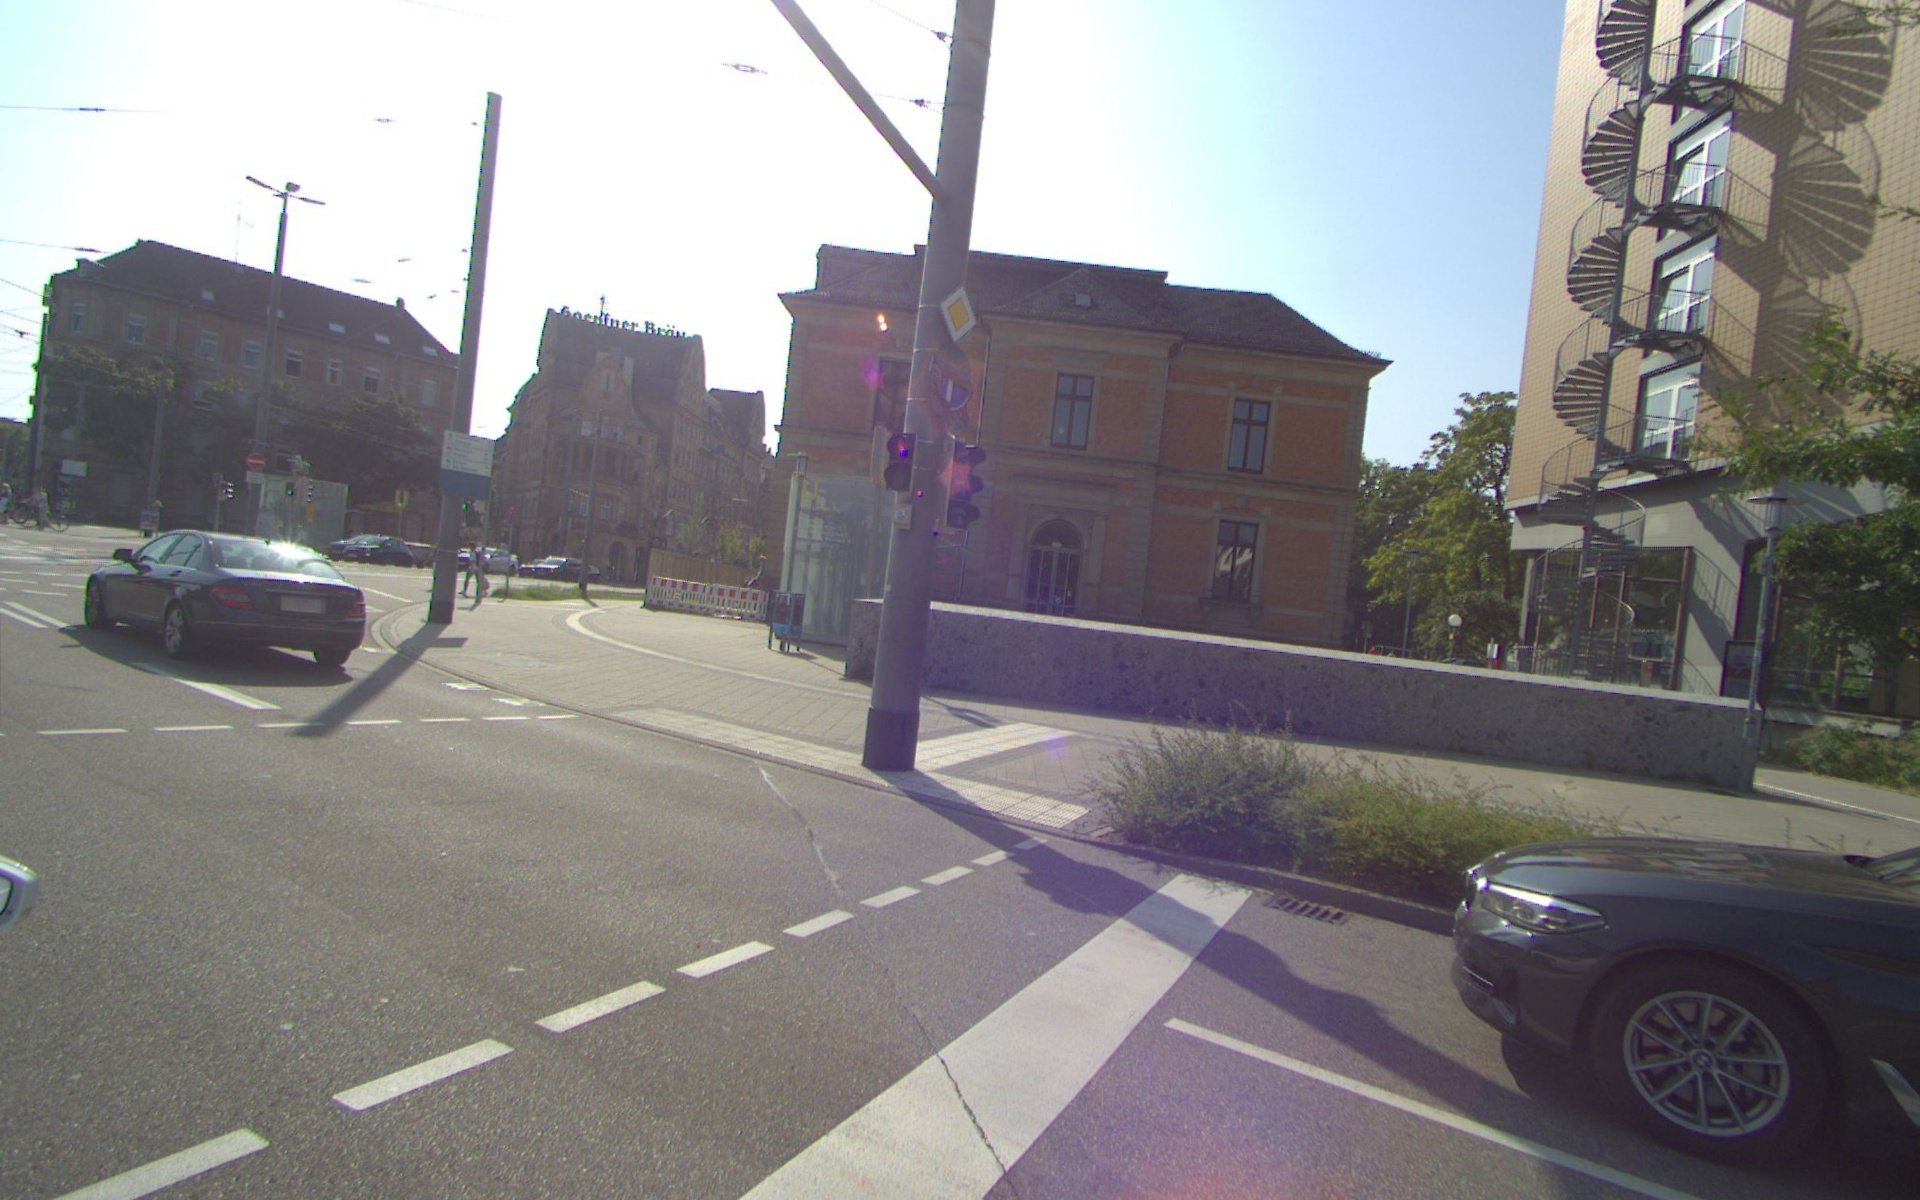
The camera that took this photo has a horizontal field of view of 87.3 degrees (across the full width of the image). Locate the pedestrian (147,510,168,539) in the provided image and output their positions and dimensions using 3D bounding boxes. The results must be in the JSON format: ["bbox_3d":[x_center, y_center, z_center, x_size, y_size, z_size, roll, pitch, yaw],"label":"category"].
[{"bbox_3d":[-43.975,-4.149,55.149,0.538,1.489,0.666,6,1,-13],"label":"pedestrian"}]

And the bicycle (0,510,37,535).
[{"bbox_3d":[-43.408,-3.574,45.253,1.072,0.976,2.628,7,0,7],"label":"bicycle"}]

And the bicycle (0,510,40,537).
[{"bbox_3d":[-41.706,-3.386,43.756,1.074,0.976,2.624,7,0,-6],"label":"bicycle"}]

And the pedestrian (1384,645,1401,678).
[{"bbox_3d":[25.888,3.698,60.267,0.624,1.890,0.674,6,1,12],"label":"pedestrian"}]

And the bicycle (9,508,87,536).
[{"bbox_3d":[-43.526,-3.713,48.040,1.072,0.976,2.628,7,0,7],"label":"bicycle"}]

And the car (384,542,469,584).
[{"bbox_3d":[-30.740,-2.096,58.130,1.874,1.881,4.712,7,-1,5],"label":"car"}]

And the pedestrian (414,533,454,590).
[{"bbox_3d":[-17.118,-1.244,32.773,0.910,1.711,0.833,6,0,-22],"label":"pedestrian"}]

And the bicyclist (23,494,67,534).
[{"bbox_3d":[-43.502,-4.086,47.840,1.072,1.701,0.937,7,1,7],"label":"bicyclist"}]

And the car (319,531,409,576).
[{"bbox_3d":[-31.394,-2.398,53.175,1.874,1.881,4.252,7,-1,3],"label":"car"}]

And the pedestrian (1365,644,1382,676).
[{"bbox_3d":[25.246,3.638,61.462,0.624,1.890,0.674,6,1,12],"label":"pedestrian"}]

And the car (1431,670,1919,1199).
[{"bbox_3d":[4.266,1.318,3.361,4.596,1.509,1.685,7,-1,32],"label":"car"}]

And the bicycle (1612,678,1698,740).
[{"bbox_3d":[19.248,3.015,27.888,1.781,1.450,0.608,7,1,4],"label":"bicycle"}]

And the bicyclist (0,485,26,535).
[{"bbox_3d":[-41.643,-3.934,43.702,1.074,2.049,0.936,6,1,-6],"label":"bicyclist"}]

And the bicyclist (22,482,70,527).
[{"bbox_3d":[-39.729,-4.138,43.744,1.074,1.730,0.936,7,1,-6],"label":"bicyclist"}]

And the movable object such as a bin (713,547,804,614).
[{"bbox_3d":[-8.766,-0.765,44.760,2.408,2.472,7.976,6,0,-1],"label":"movable object such as a bin"}]

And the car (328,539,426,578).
[{"bbox_3d":[-28.683,-1.990,49.647,1.985,1.414,4.389,7,-1,3],"label":"car"}]

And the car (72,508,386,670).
[{"bbox_3d":[-9.000,-0.179,12.274,4.303,1.460,1.683,7,0,34],"label":"car"}]

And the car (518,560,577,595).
[{"bbox_3d":[-27.184,-1.464,66.433,1.874,1.881,4.070,7,-1,3],"label":"car"}]

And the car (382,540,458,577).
[{"bbox_3d":[-34.970,-2.661,65.266,1.895,1.881,4.276,7,-1,11],"label":"car"}]

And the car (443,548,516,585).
[{"bbox_3d":[-30.107,-2.069,63.219,2.007,1.881,4.667,7,-1,3],"label":"car"}]

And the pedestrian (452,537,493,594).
[{"bbox_3d":[-15.627,-1.102,32.294,0.909,1.711,0.921,6,0,-19],"label":"pedestrian"}]

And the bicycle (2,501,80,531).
[{"bbox_3d":[-39.769,-3.621,43.612,1.074,0.976,2.624,7,0,-6],"label":"bicycle"}]

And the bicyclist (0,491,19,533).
[{"bbox_3d":[-43.359,-3.998,45.230,1.072,1.822,0.937,7,1,7],"label":"bicyclist"}]

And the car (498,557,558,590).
[{"bbox_3d":[-29.821,-1.793,69.581,1.874,1.881,4.252,7,-1,3],"label":"car"}]
